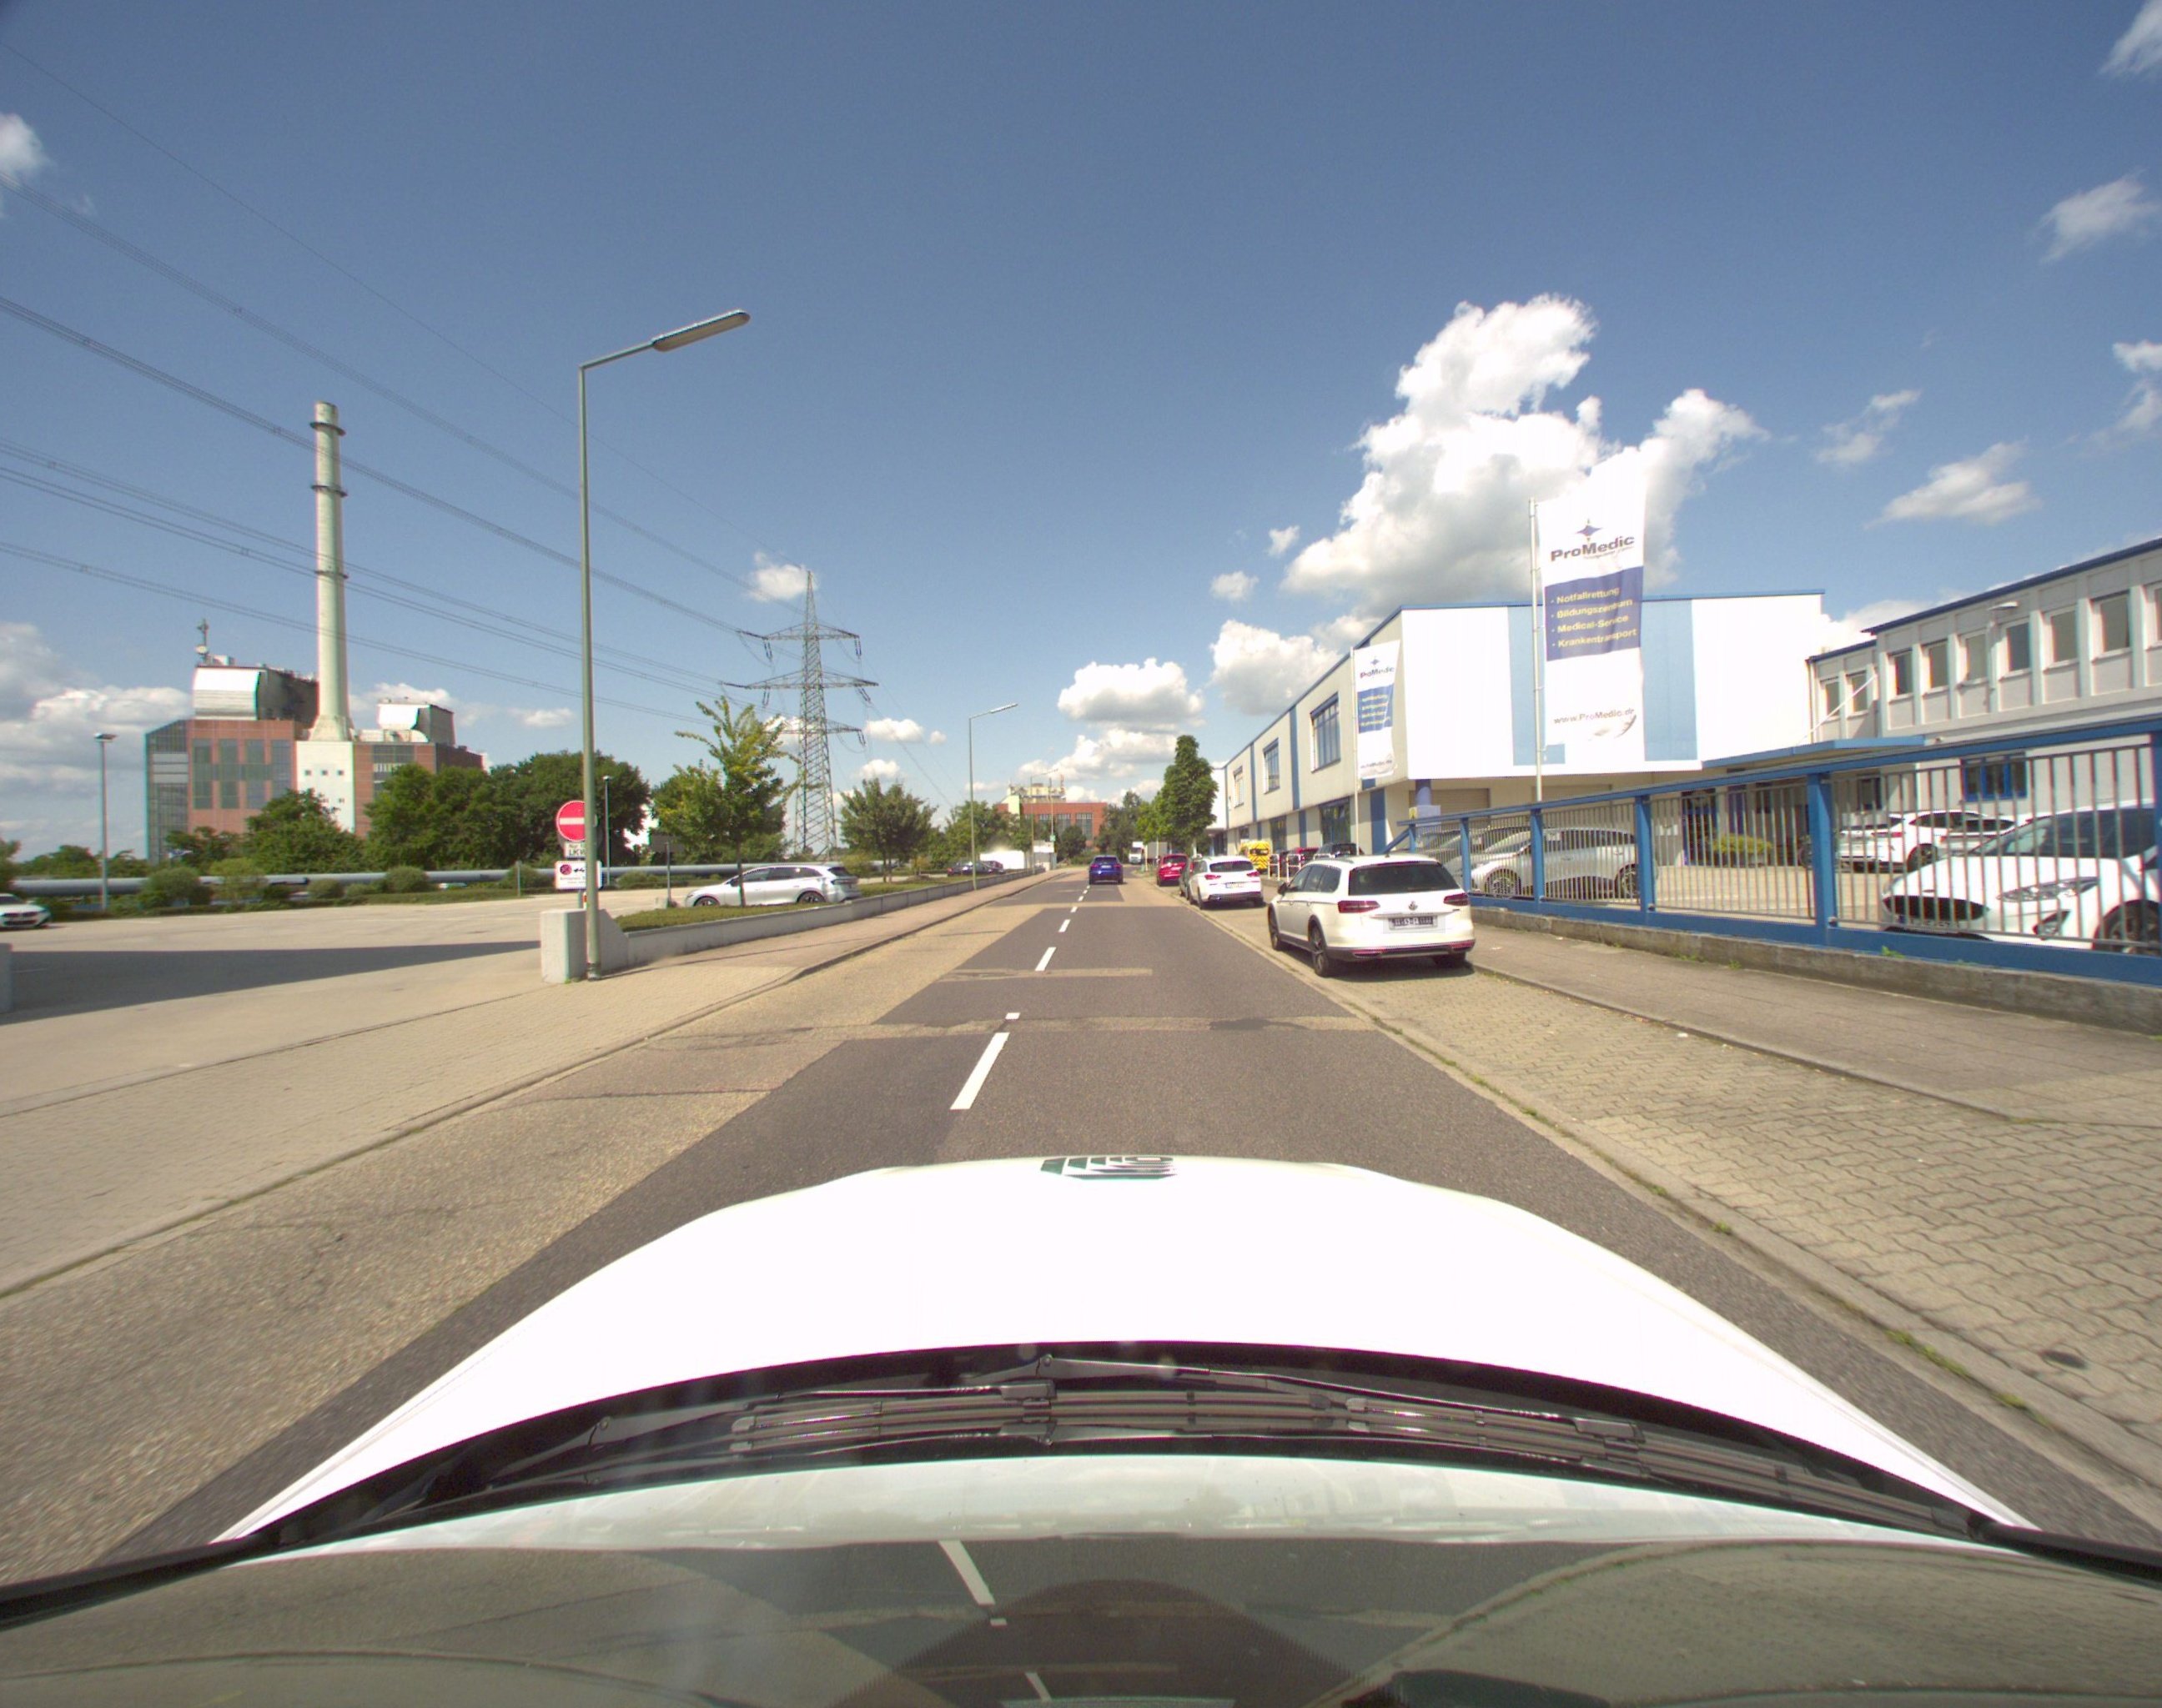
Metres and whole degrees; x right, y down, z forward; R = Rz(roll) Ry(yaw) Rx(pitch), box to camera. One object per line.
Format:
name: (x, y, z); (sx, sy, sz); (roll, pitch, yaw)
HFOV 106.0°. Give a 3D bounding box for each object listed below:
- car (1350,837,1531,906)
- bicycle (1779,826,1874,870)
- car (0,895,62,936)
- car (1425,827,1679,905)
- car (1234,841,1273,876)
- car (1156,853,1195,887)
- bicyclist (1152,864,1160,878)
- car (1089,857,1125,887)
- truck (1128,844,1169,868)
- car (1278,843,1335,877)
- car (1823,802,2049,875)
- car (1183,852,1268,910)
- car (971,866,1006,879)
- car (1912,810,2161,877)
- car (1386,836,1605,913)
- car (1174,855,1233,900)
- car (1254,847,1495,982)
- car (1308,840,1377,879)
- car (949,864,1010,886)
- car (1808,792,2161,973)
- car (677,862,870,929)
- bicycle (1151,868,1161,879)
car: (9.726, 0.459, 22.288); (4.070, 1.686, 2.000); (-2, -1, 0)
bicycle: (22.239, -0.175, 24.315); (2.216, 1.212, 0.641); (-2, -1, 1)
car: (-42.325, 2.421, 31.756); (3.785, 1.474, 1.811); (-2, -1, 15)
car: (9.940, 0.249, 17.484); (4.263, 1.420, 2.001); (-2, 0, 2)
car: (12.741, 0.355, 60.551); (1.916, 2.464, 5.262); (-1, -1, 2)
car: (4.937, 0.837, 43.002); (1.747, 1.651, 4.682); (-1, -1, 4)
bicyclist: (7.836, 1.767, 84.906); (0.658, 1.397, 0.861); (-2, -1, 13)
car: (1.485, 1.012, 47.134); (1.902, 1.593, 4.702); (-1, -1, 1)
truck: (10.760, 0.273, 129.324); (2.298, 3.567, 9.427); (0, 1, 32)
car: (12.162, 0.369, 44.229); (1.986, 1.657, 4.291); (-2, -2, 2)
car: (22.636, -0.400, 21.683); (4.043, 1.740, 1.807); (-2, 0, 1)
car: (4.199, 0.765, 24.300); (1.828, 1.520, 4.462); (-1, -1, 1)
car: (-10.879, 2.154, 95.616); (3.948, 1.378, 1.815); (-2, -1, 36)
car: (22.805, -0.245, 19.488); (3.973, 1.399, 1.807); (-2, 0, 1)
car: (9.940, 0.479, 19.817); (4.212, 1.647, 2.147); (-2, -1, 0)
car: (4.438, 0.821, 29.914); (1.662, 1.520, 3.996); (-1, -1, 2)
car: (3.849, 0.724, 11.642); (1.861, 1.520, 4.599); (-1, -1, 1)
car: (11.884, 0.303, 37.329); (1.820, 1.513, 4.642); (-2, -3, 2)
car: (-7.112, 1.459, 57.350); (3.972, 1.376, 1.804); (-2, 0, 1)
car: (9.668, 0.178, 7.564); (3.971, 1.420, 2.001); (-2, 0, 2)
car: (-8.778, 1.152, 23.572); (4.742, 1.602, 1.998); (-3, -1, -2)
bicycle: (7.816, 1.989, 84.753); (0.662, 1.109, 2.175); (-2, -1, 13)
